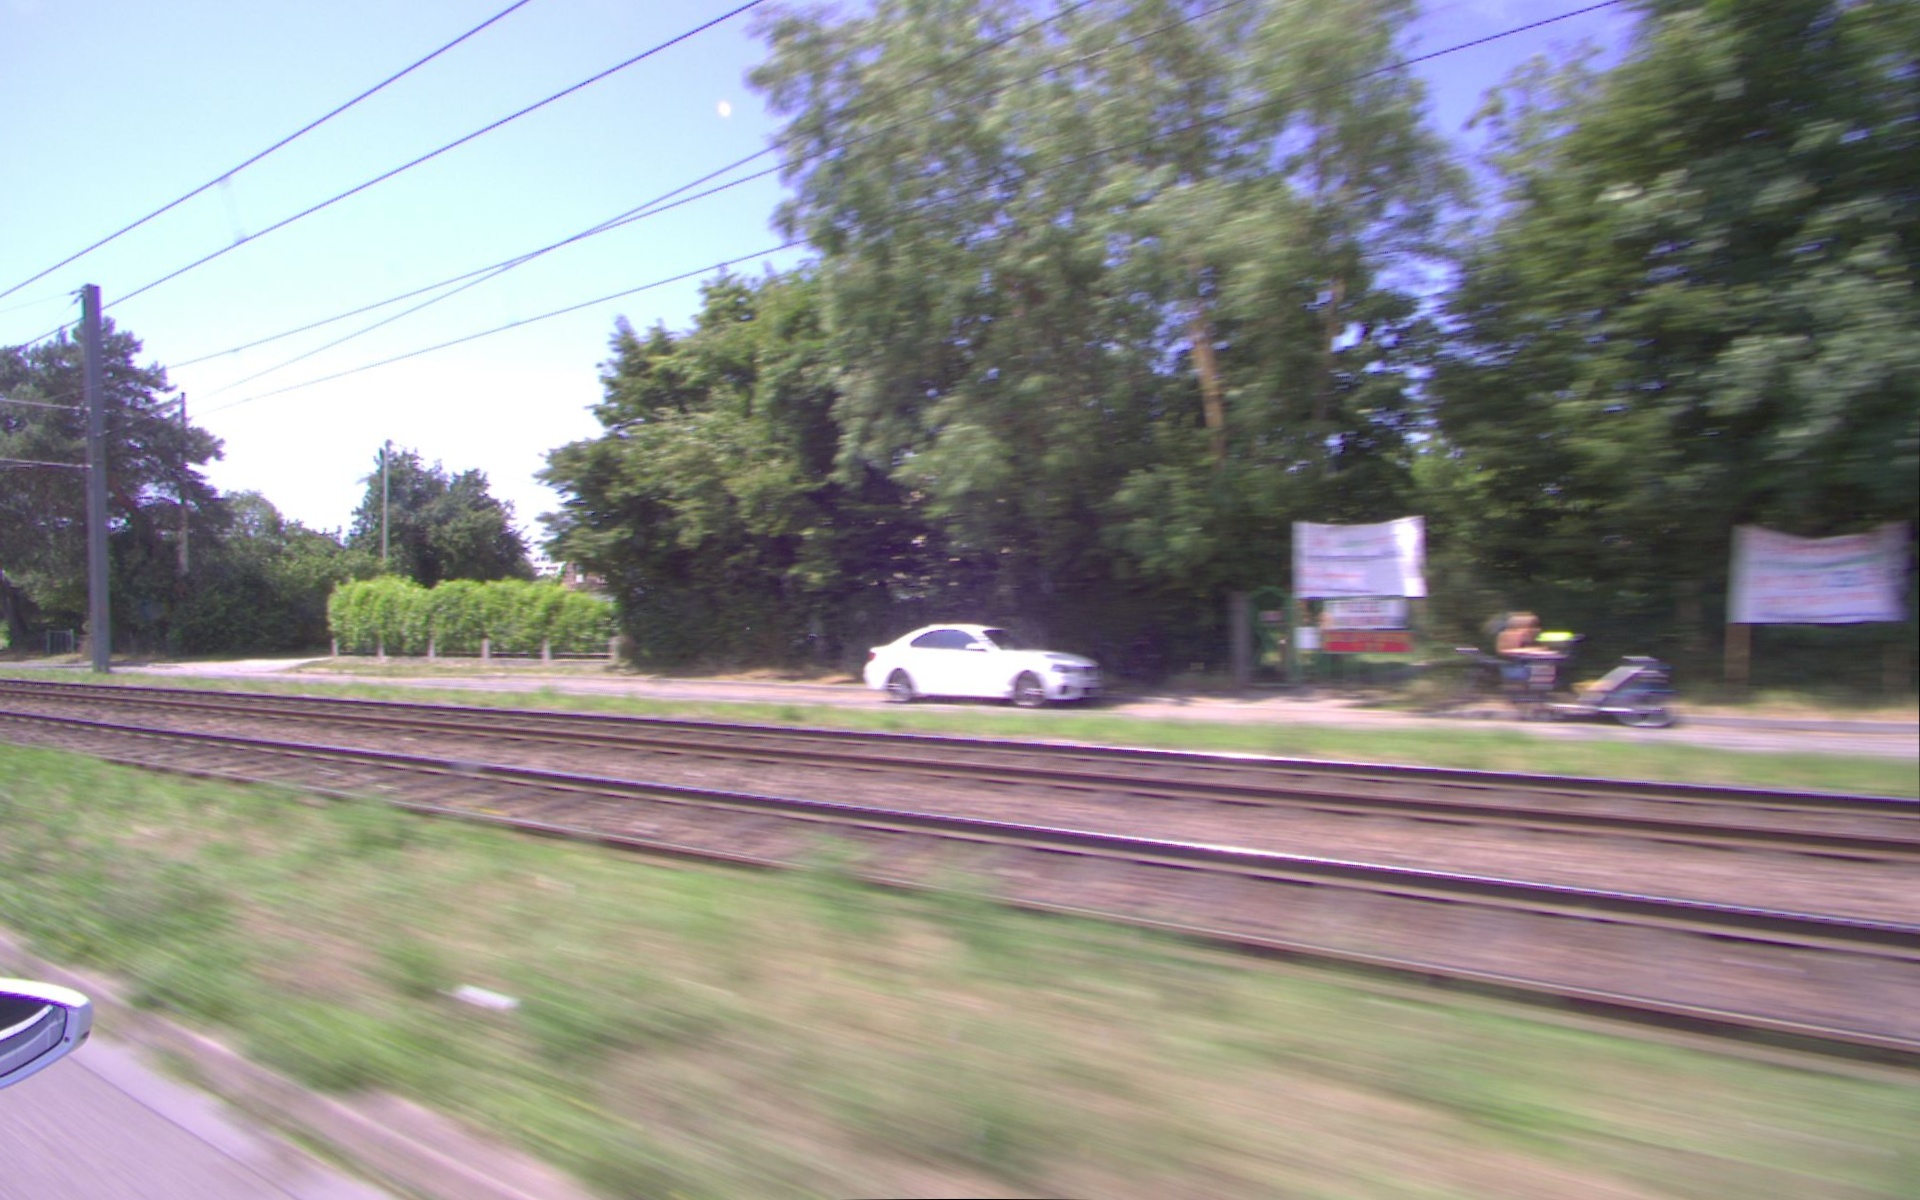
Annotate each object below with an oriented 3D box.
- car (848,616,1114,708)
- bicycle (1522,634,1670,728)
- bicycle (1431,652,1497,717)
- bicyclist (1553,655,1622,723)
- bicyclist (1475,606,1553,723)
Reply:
[{"bbox_3d":[0.318,1.087,18.244,4.564,1.469,1.793,-2,0,32],"label":"car"},{"bbox_3d":[8.662,1.077,13.707,1.635,1.161,1.143,-2,0,32],"label":"bicycle"},{"bbox_3d":[7.386,1.217,14.670,0.787,0.887,0.747,-2,0,32],"label":"bicycle"},{"bbox_3d":[8.773,1.234,14.021,0.751,0.887,0.522,-2,0,27],"label":"bicyclist"},{"bbox_3d":[7.892,0.901,14.297,0.912,1.609,0.608,-1,0,27],"label":"bicyclist"}]
